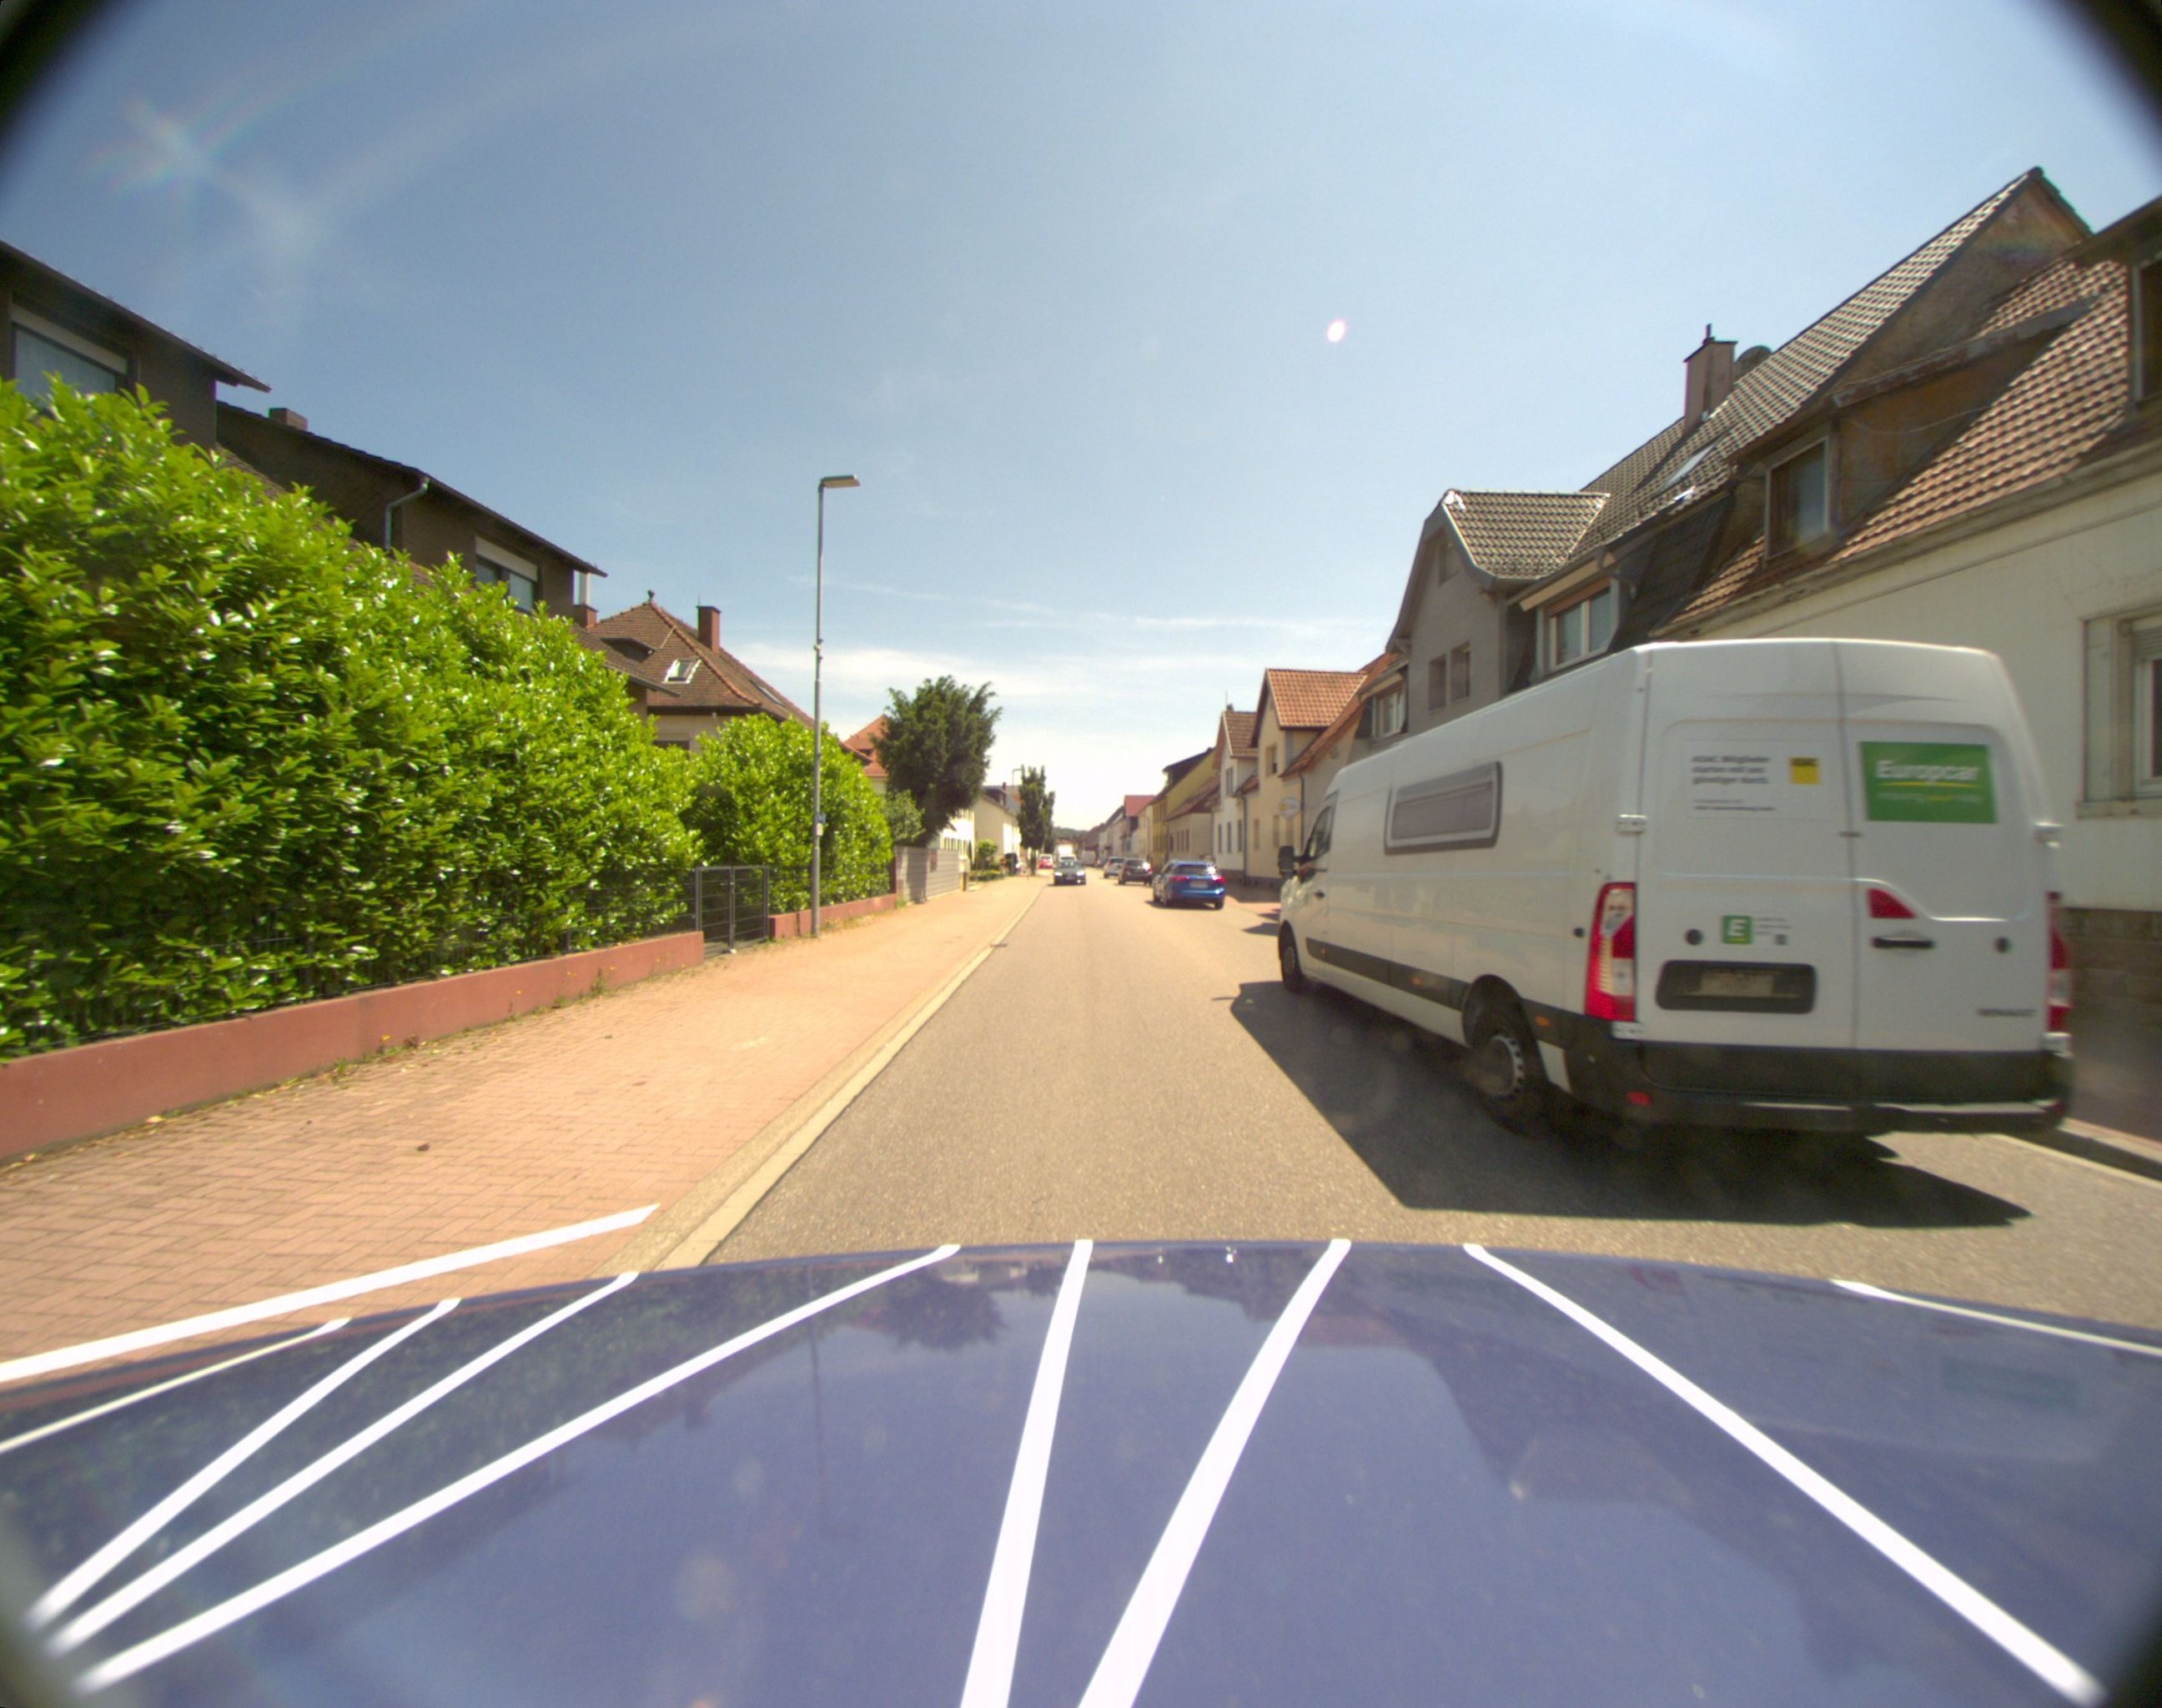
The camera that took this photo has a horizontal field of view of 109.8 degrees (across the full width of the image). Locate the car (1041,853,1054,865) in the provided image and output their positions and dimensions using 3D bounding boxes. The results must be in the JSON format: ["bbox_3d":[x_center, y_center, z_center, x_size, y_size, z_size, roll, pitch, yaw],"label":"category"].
[{"bbox_3d":[-4.555,0.688,102.552,1.637,1.572,3.569,1,0,-1],"label":"car"}]

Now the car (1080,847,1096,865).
[{"bbox_3d":[1.101,0.312,115.313,2.116,2.517,4.913,2,0,-2],"label":"car"}]

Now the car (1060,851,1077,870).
[{"bbox_3d":[-1.203,0.652,76.170,1.636,1.833,3.569,0,0,0],"label":"car"}]

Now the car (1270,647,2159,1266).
[{"bbox_3d":[3.256,0.406,6.051,2.034,2.446,6.068,0,0,1],"label":"car"}]

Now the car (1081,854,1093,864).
[{"bbox_3d":[0.980,0.888,132.630,1.983,1.624,4.250,2,0,0],"label":"car"}]

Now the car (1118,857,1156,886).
[{"bbox_3d":[3.102,0.941,42.852,1.681,1.450,3.927,2,0,-2],"label":"car"}]

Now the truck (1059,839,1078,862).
[{"bbox_3d":[-2.036,-0.573,123.588,2.898,3.516,12.952,0,0,-1],"label":"truck"}]

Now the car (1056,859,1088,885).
[{"bbox_3d":[-0.520,0.982,43.086,1.705,1.346,4.000,-1,0,-1],"label":"car"}]

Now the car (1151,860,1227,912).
[{"bbox_3d":[3.371,0.945,24.402,1.650,1.445,4.400,1,0,-2],"label":"car"}]

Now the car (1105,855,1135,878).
[{"bbox_3d":[2.907,0.929,58.136,1.878,1.593,4.430,2,0,-2],"label":"car"}]
